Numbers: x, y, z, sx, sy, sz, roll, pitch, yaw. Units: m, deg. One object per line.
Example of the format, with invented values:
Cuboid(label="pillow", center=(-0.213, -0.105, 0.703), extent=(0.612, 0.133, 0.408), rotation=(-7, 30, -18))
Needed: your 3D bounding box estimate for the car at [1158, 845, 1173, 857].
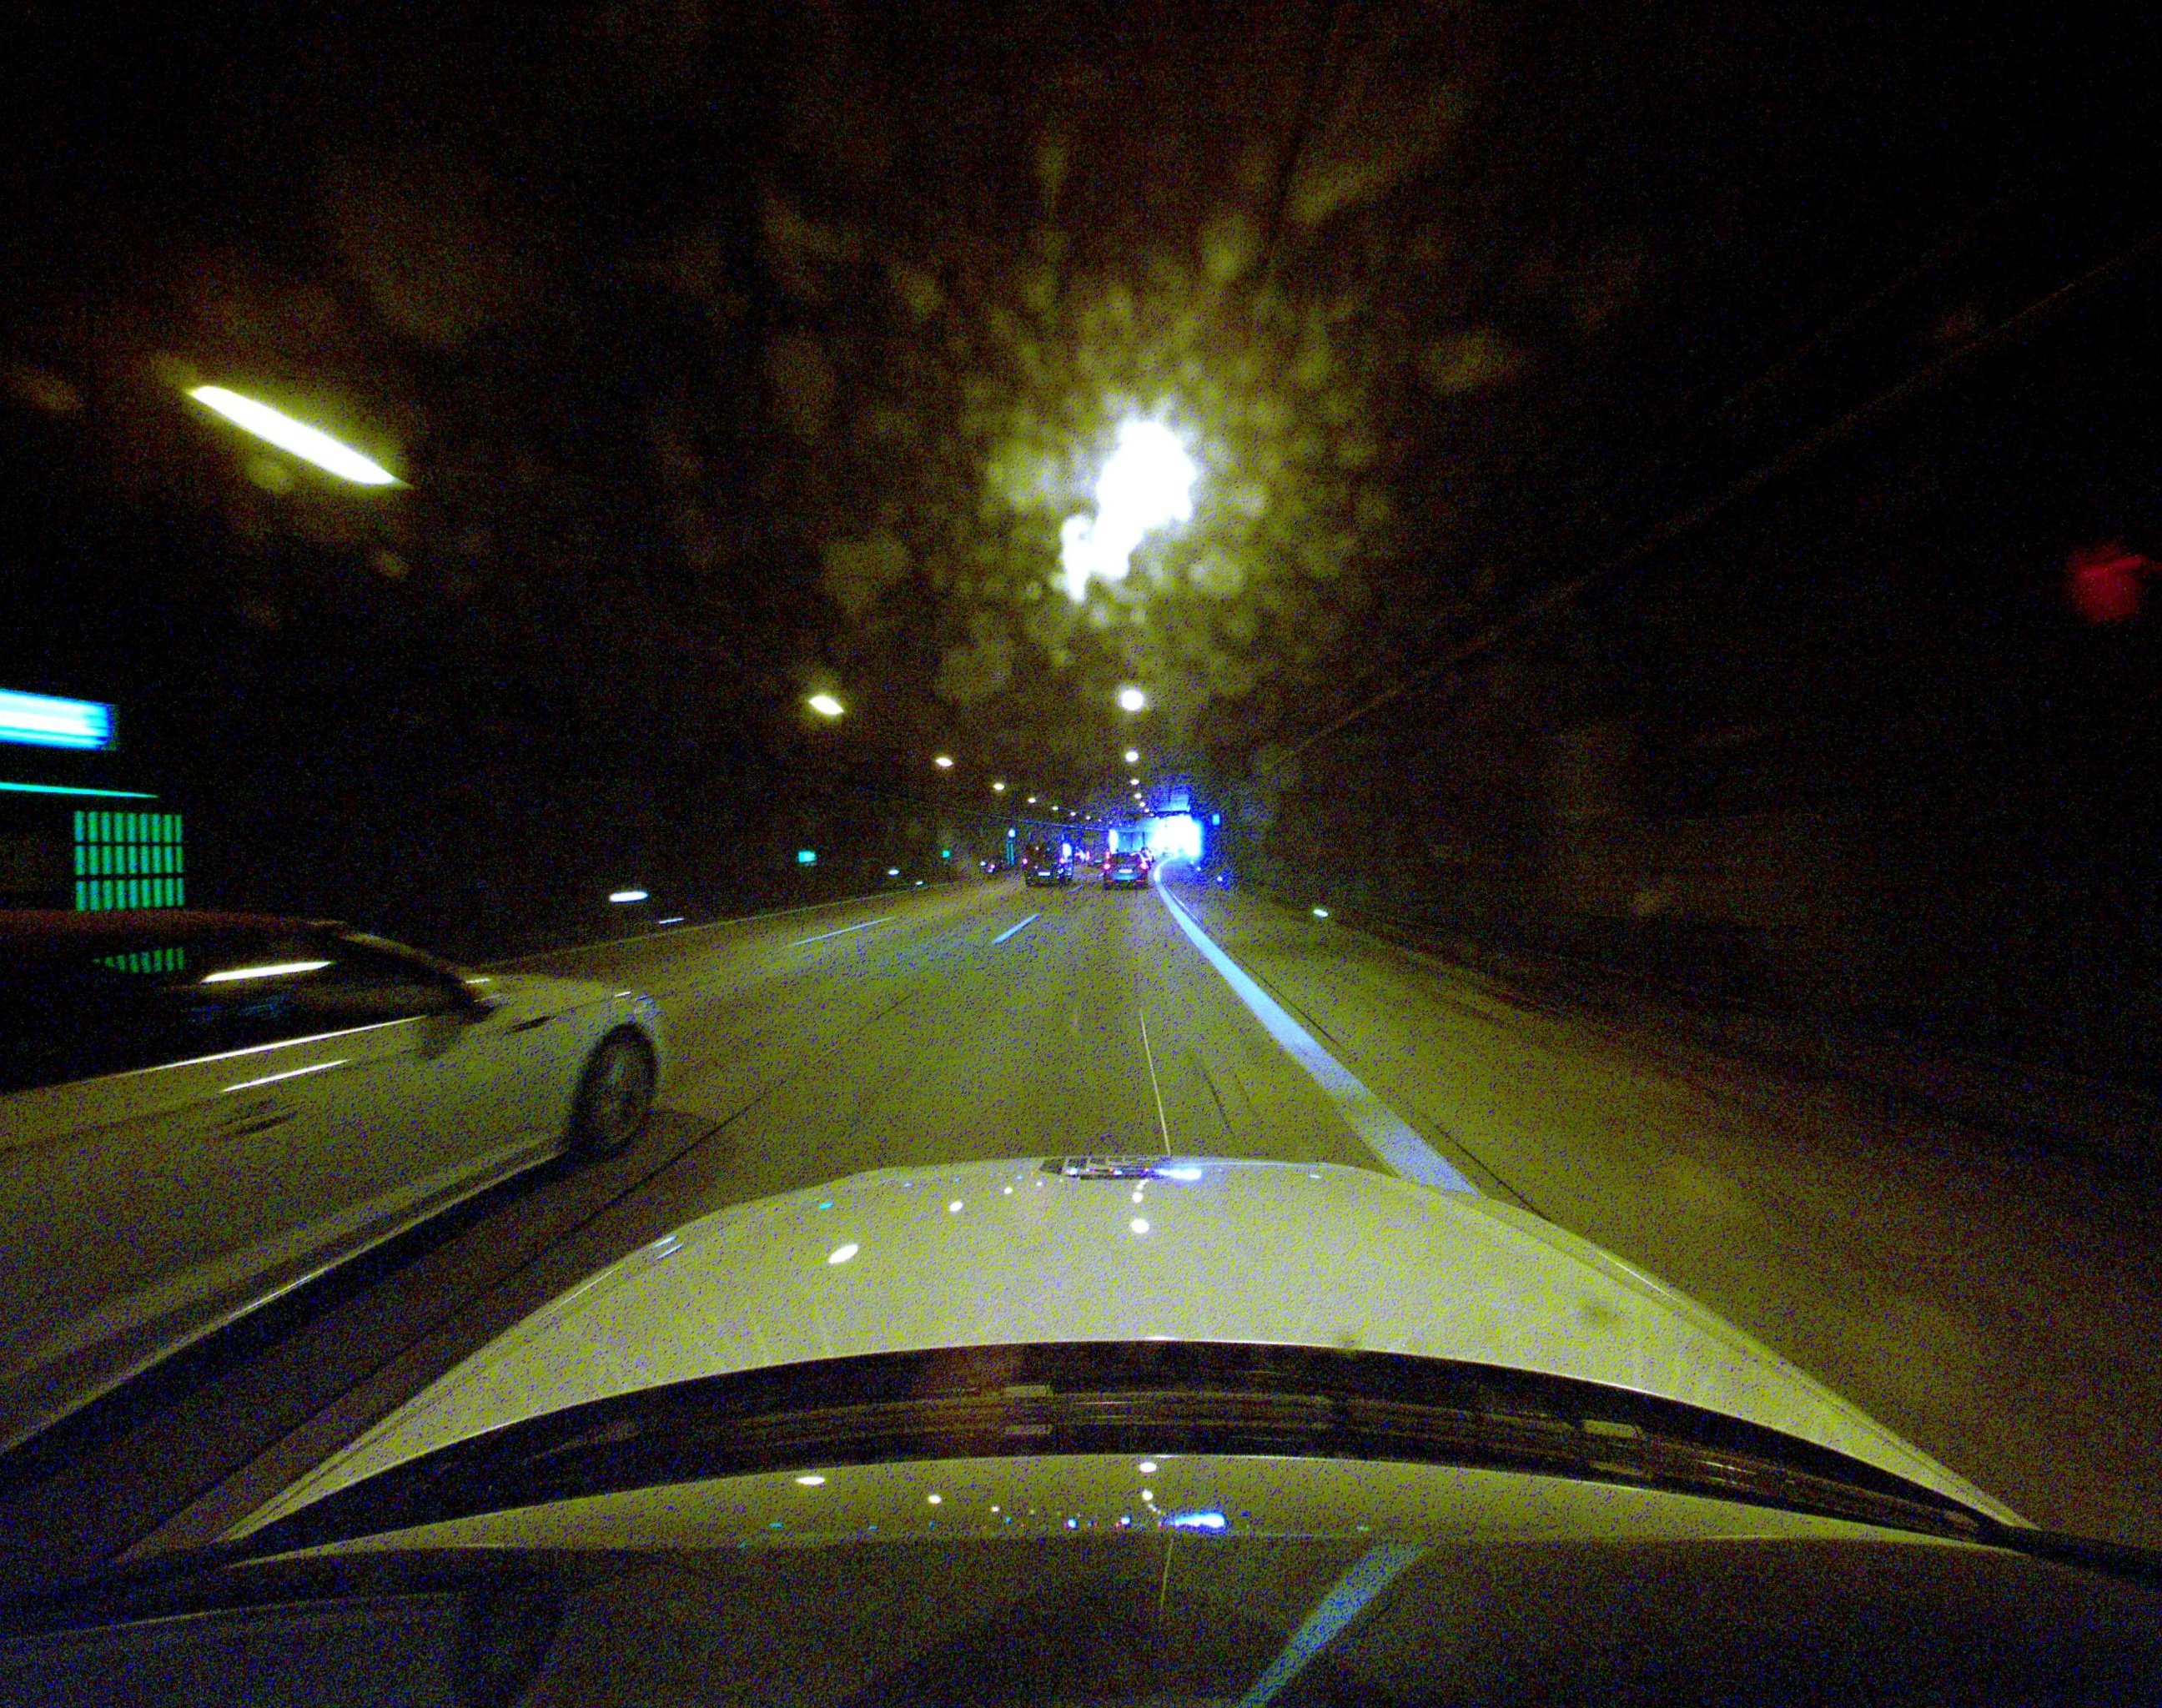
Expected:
Cuboid(label="car", center=(13.135, -0.405, 126.321), extent=(1.924, 1.643, 4.000), rotation=(-1, -2, 1))

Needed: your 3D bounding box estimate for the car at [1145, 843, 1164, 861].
Cuboid(label="car", center=(7.757, -0.162, 86.028), extent=(1.940, 1.772, 4.005), rotation=(-1, -2, 5))

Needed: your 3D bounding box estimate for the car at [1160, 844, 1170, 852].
Cuboid(label="car", center=(20.052, -1.494, 193.819), extent=(1.918, 1.643, 4.012), rotation=(-1, -2, 11))

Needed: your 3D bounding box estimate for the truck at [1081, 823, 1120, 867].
Cuboid(label="truck", center=(1.864, -0.803, 73.373), extent=(3.025, 3.673, 7.402), rotation=(-1, 0, 5))

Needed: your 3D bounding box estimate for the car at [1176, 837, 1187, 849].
Cuboid(label="car", center=(18.936, -2.016, 153.924), extent=(1.983, 2.014, 4.007), rotation=(-1, -2, 7))

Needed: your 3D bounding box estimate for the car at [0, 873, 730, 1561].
Cuboid(label="car", center=(-3.197, 0.844, 2.833), extent=(1.696, 1.419, 5.060), rotation=(-1, 0, 0))

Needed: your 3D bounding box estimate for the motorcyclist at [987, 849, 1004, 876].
Cuboid(label="motorcyclist", center=(-4.826, 0.496, 46.004), extent=(0.773, 1.453, 1.070), rotation=(-1, -2, 5))

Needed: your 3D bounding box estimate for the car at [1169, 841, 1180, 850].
Cuboid(label="car", center=(19.878, -1.737, 173.228), extent=(1.981, 1.632, 4.010), rotation=(-1, -2, 10))

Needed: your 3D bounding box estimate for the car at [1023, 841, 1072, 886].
Cuboid(label="car", center=(-1.508, 0.411, 37.979), extent=(1.901, 1.944, 3.875), rotation=(-1, 1, 3))

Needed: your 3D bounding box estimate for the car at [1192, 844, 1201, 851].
Cuboid(label="car", center=(26.380, -1.481, 185.568), extent=(1.919, 1.642, 4.011), rotation=(-1, 0, 10))

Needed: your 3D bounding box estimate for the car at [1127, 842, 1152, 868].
Cuboid(label="car", center=(4.510, 0.059, 62.388), extent=(1.848, 1.854, 4.006), rotation=(-1, 0, 5))

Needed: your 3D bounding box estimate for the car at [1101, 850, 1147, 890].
Cuboid(label="car", center=(1.788, 0.619, 33.369), extent=(1.734, 1.464, 3.876), rotation=(-1, 1, 4))

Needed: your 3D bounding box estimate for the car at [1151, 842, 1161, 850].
Cuboid(label="car", center=(16.045, -1.723, 174.353), extent=(1.919, 1.642, 4.010), rotation=(-1, 0, 9))

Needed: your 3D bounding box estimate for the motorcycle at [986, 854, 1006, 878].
Cuboid(label="motorcycle", center=(-4.808, 0.689, 46.057), extent=(0.680, 1.297, 2.401), rotation=(-1, -1, 4))

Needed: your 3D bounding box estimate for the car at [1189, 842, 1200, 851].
Cuboid(label="car", center=(23.252, -1.517, 166.826), extent=(1.918, 1.642, 4.013), rotation=(-1, 0, 12))
